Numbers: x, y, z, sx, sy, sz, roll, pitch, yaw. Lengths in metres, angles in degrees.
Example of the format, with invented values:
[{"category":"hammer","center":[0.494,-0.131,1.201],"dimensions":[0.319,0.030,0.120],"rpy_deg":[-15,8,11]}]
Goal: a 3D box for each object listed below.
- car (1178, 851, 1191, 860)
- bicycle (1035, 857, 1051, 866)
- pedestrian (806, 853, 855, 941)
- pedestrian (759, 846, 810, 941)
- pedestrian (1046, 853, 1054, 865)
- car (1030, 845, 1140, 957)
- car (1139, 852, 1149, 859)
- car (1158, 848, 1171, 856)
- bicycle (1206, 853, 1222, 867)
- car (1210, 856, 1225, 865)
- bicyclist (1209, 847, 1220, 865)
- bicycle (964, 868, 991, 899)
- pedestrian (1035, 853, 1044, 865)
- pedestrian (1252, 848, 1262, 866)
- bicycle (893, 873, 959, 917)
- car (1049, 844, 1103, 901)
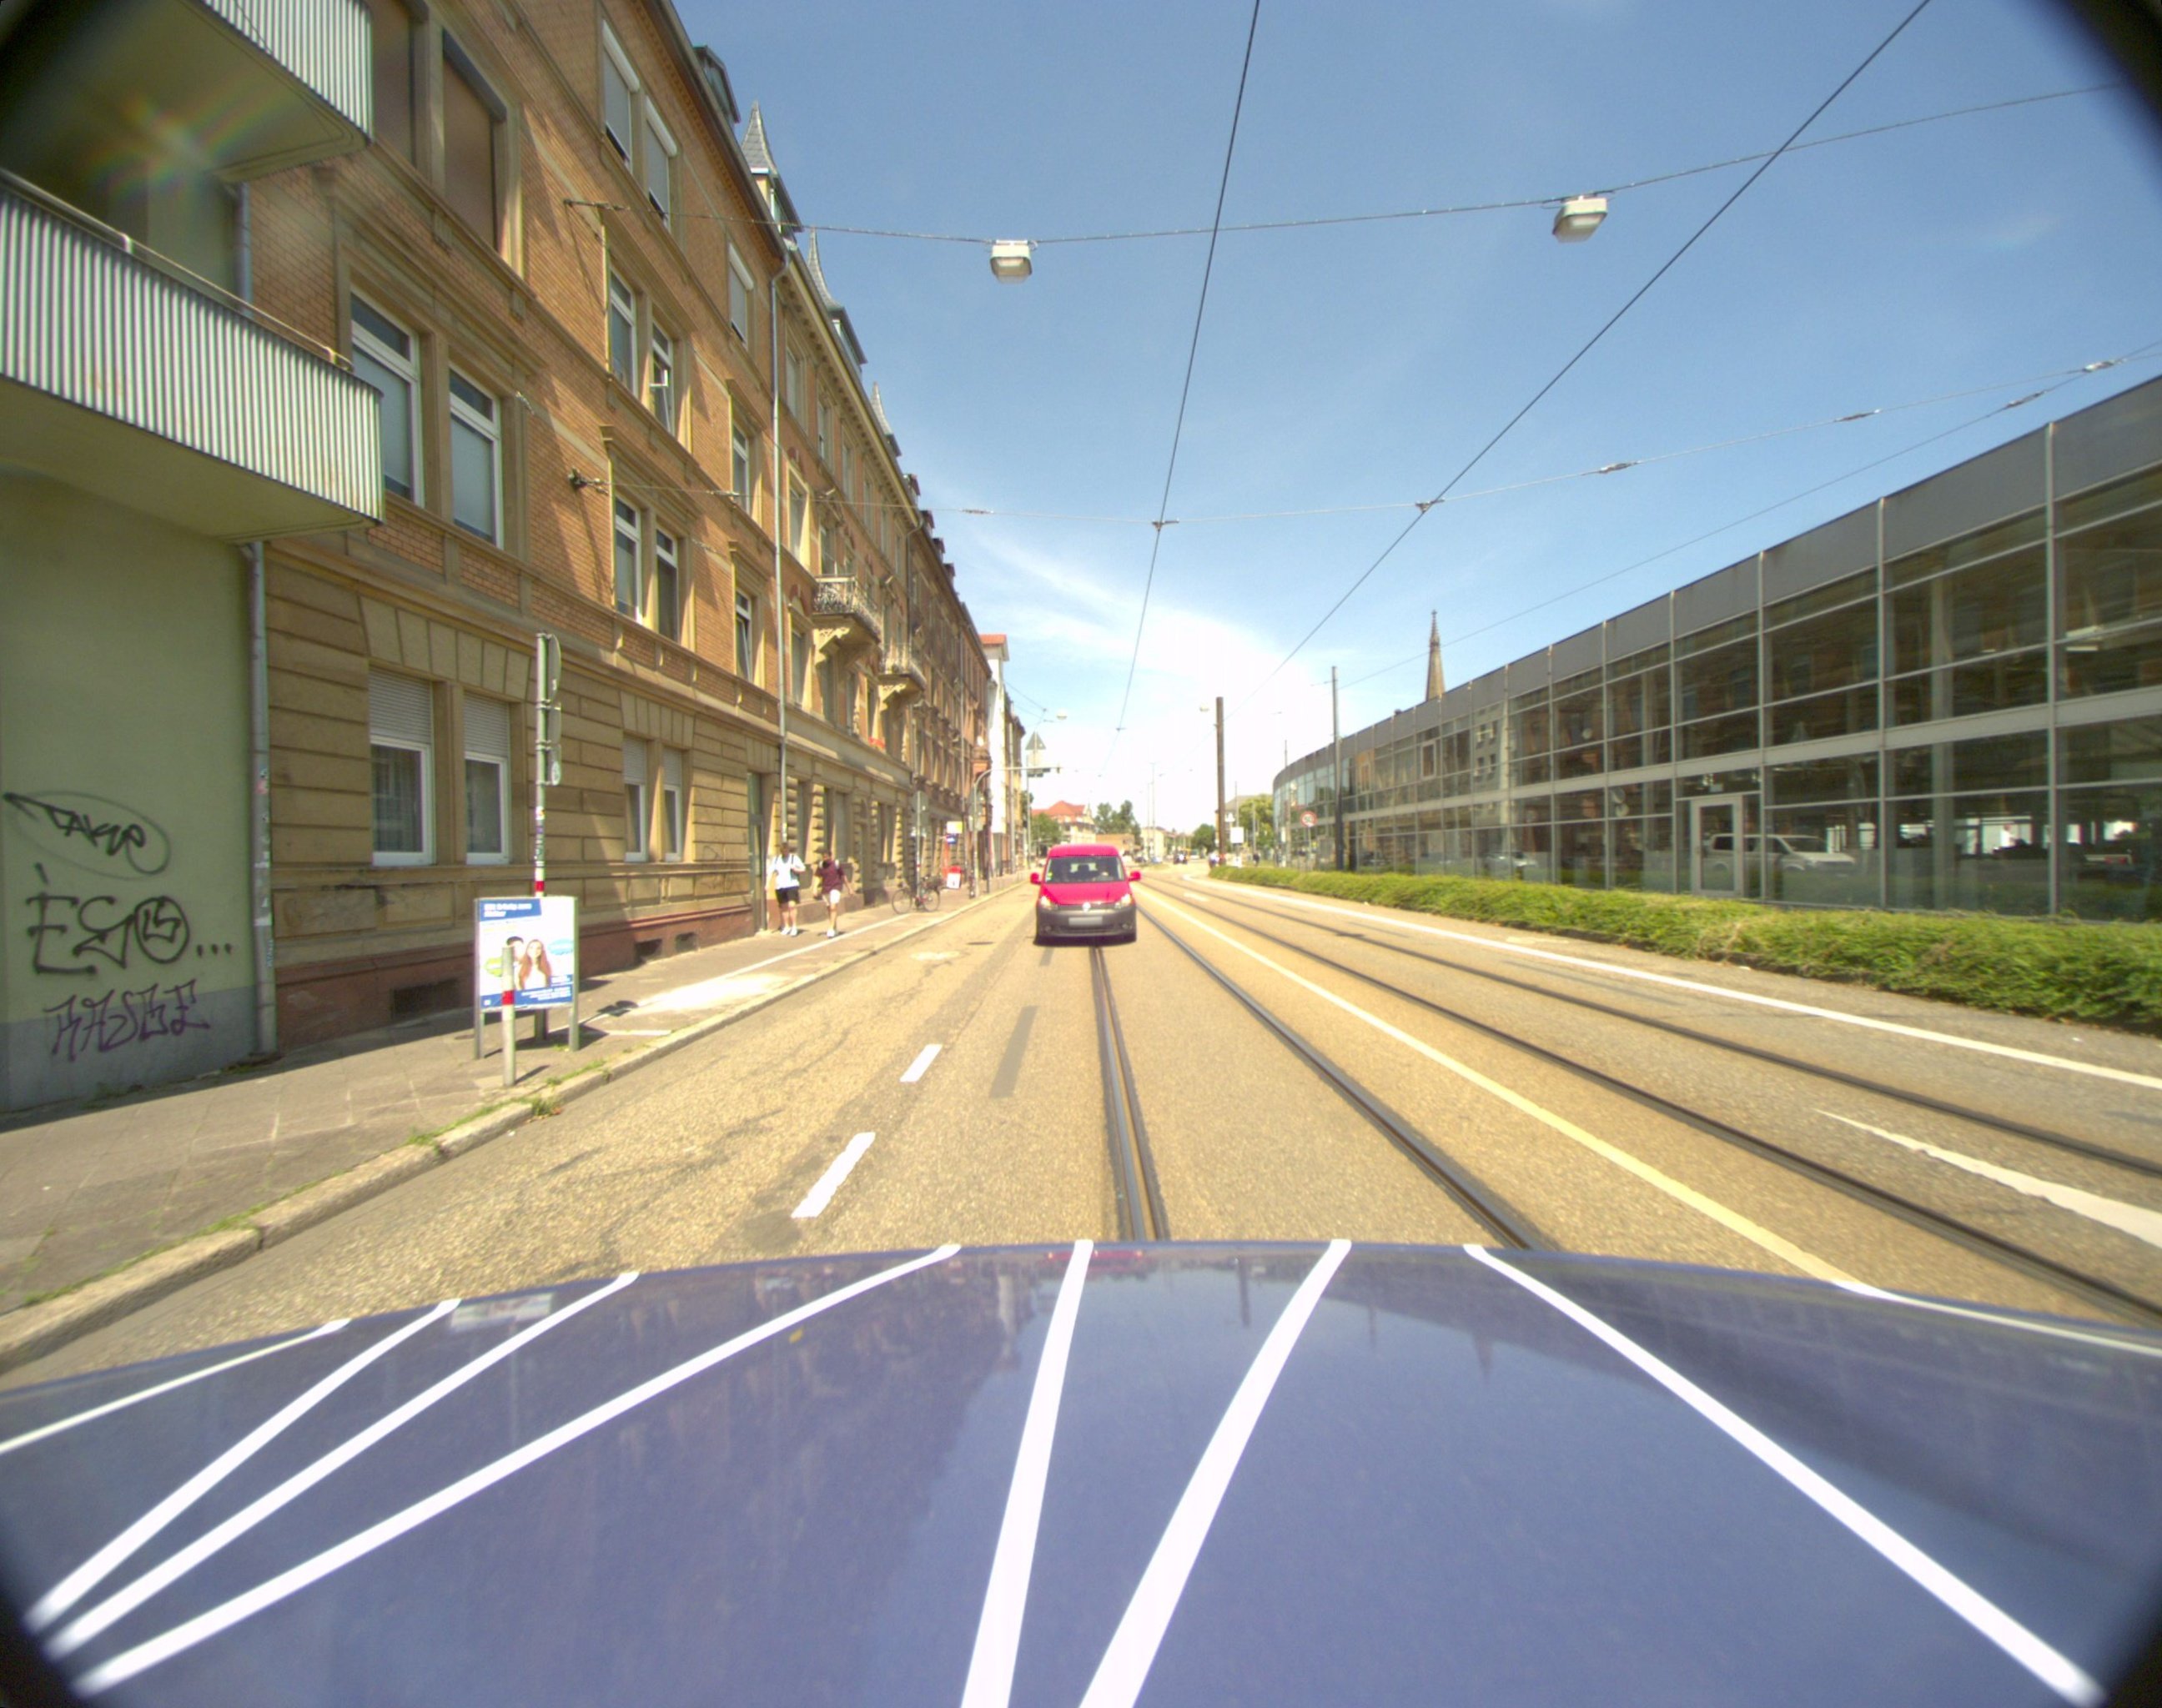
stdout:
[{"category":"car","center":[17.541,0.224,129.157],"dimensions":[1.826,1.617,4.526],"rpy_deg":[0,0,4]},{"category":"bicycle","center":[-5.595,1.060,111.488],"dimensions":[2.225,1.243,1.096],"rpy_deg":[-1,0,-44]},{"category":"pedestrian","center":[-4.991,0.836,15.175],"dimensions":[0.722,1.710,0.643],"rpy_deg":[-1,1,1]},{"category":"pedestrian","center":[-5.960,0.780,15.305],"dimensions":[0.704,1.838,0.643],"rpy_deg":[3,1,1]},{"category":"pedestrian","center":[-4.734,0.753,115.787],"dimensions":[0.808,1.769,0.876],"rpy_deg":[-1,1,33]},{"category":"car","center":[0.109,0.771,14.518],"dimensions":[1.755,1.802,4.097],"rpy_deg":[-1,0,1]},{"category":"car","center":[13.546,0.406,163.333],"dimensions":[1.675,1.453,3.903],"rpy_deg":[0,0,0]},{"category":"car","center":[16.856,-0.376,153.241],"dimensions":[1.998,1.521,5.131],"rpy_deg":[1,0,1]},{"category":"bicycle","center":[11.793,0.526,67.094],"dimensions":[0.698,1.138,2.500],"rpy_deg":[-1,0,26]},{"category":"car","center":[22.413,1.037,124.701],"dimensions":[1.762,1.359,4.289],"rpy_deg":[-1,0,2]},{"category":"bicyclist","center":[11.813,0.185,67.108],"dimensions":[0.698,1.539,0.982],"rpy_deg":[-1,1,26]},{"category":"bicycle","center":[-3.980,1.118,29.380],"dimensions":[0.448,1.090,2.424],"rpy_deg":[-1,0,6]},{"category":"pedestrian","center":[-6.064,0.738,111.140],"dimensions":[0.826,1.765,0.812],"rpy_deg":[-3,2,-43]},{"category":"pedestrian","center":[15.652,0.277,67.598],"dimensions":[0.729,1.632,0.820],"rpy_deg":[-1,1,4]},{"category":"bicycle","center":[-4.369,1.146,21.610],"dimensions":[0.499,1.124,2.247],"rpy_deg":[0,0,29]},{"category":"car","center":[-0.166,0.647,28.774],"dimensions":[1.874,1.954,3.823],"rpy_deg":[-1,0,0]}]
